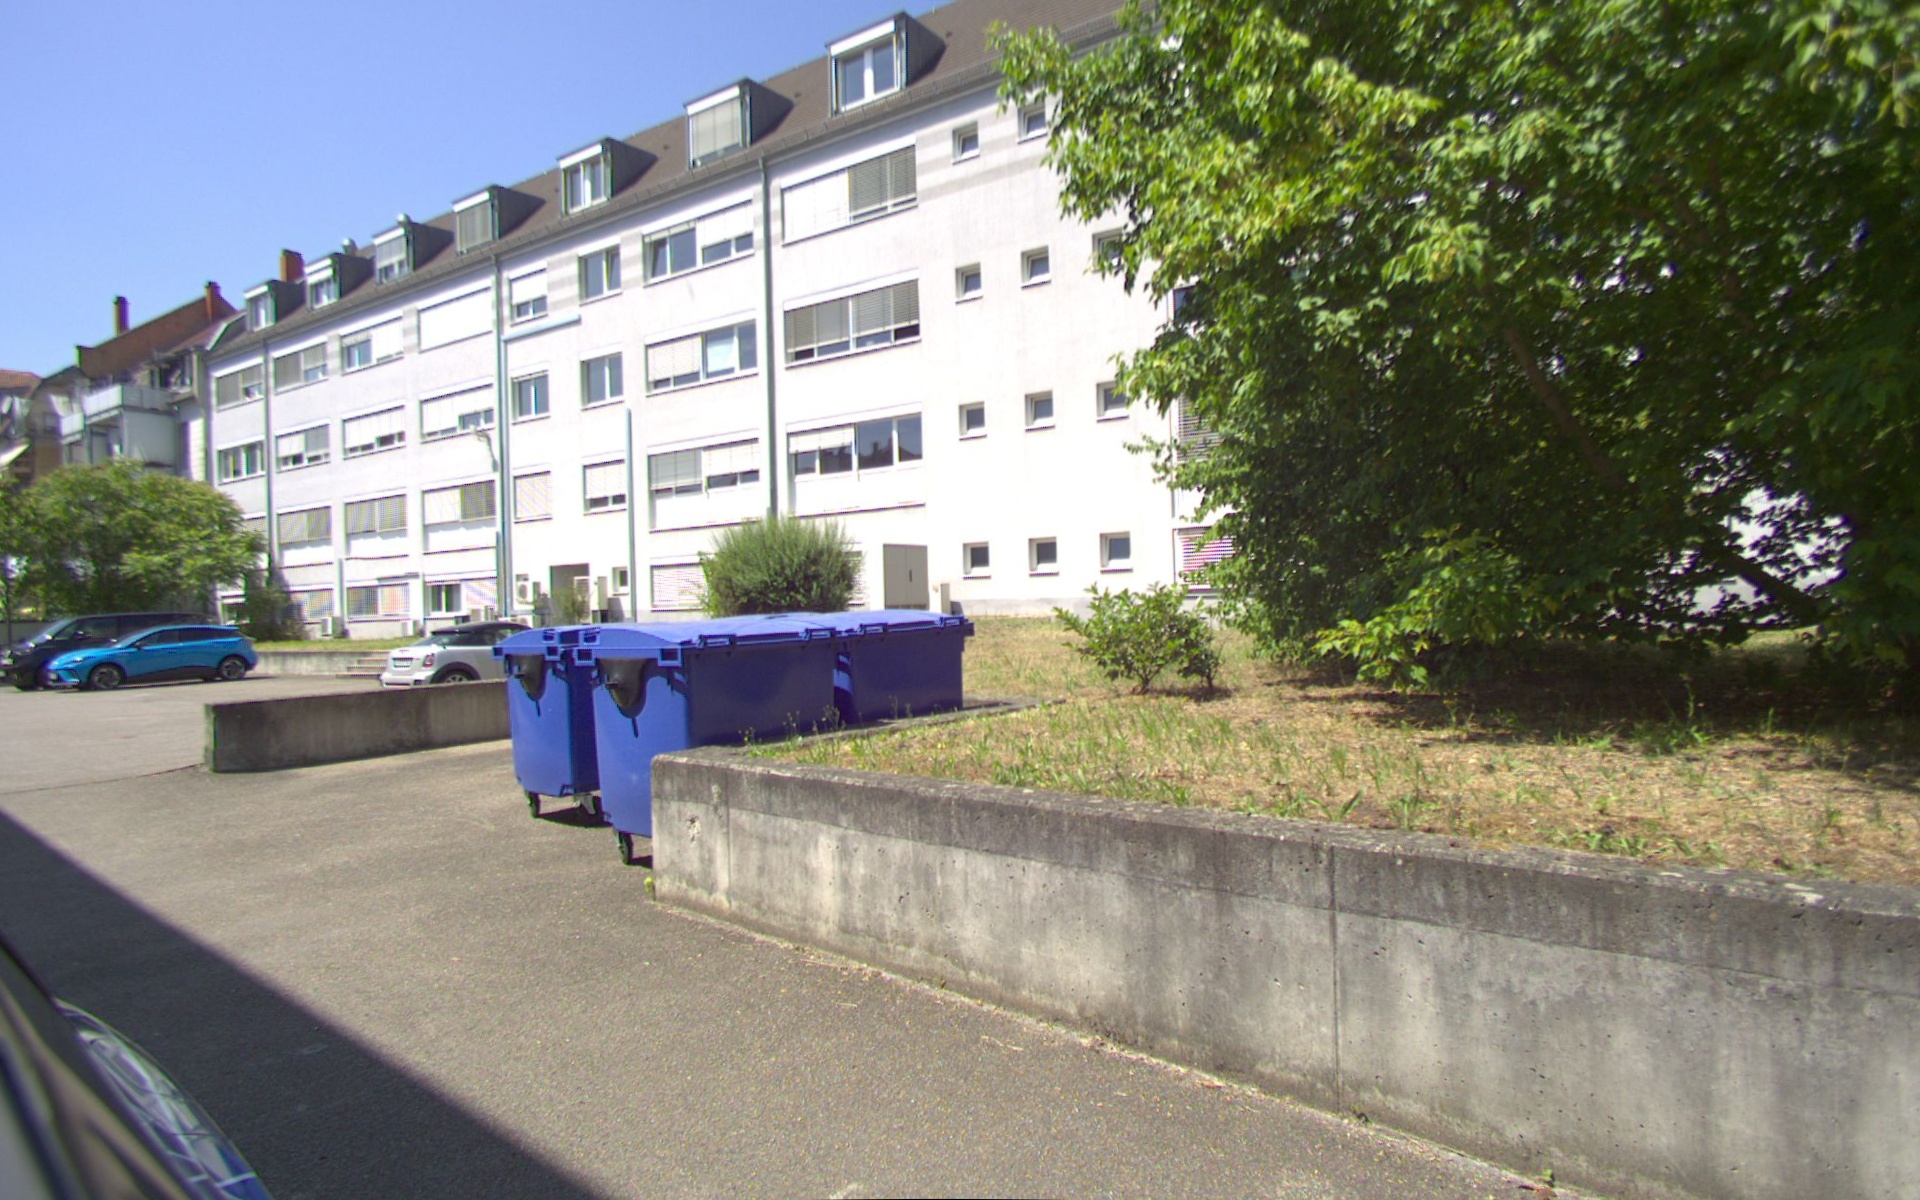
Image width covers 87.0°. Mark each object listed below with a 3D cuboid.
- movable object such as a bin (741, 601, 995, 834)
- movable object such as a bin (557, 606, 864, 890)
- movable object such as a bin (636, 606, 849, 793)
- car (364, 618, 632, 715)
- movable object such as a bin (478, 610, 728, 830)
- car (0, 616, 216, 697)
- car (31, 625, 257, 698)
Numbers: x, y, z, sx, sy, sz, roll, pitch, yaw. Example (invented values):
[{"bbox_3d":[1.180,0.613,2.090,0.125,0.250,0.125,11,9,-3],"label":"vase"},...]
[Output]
[{"bbox_3d":[-0.595,0.705,6.752,1.103,1.338,1.242,-2,0,39],"label":"movable object such as a bin"},{"bbox_3d":[-1.389,0.731,5.713,1.103,1.338,1.242,-2,0,39],"label":"movable object such as a bin"},{"bbox_3d":[-1.748,0.746,8.214,1.103,1.338,1.242,-2,0,39],"label":"movable object such as a bin"},{"bbox_3d":[-7.893,1.070,17.619,1.707,1.447,3.953,-2,-2,34],"label":"car"},{"bbox_3d":[-2.511,0.772,7.164,1.103,1.338,1.242,-2,0,39],"label":"movable object such as a bin"},{"bbox_3d":[-22.960,1.433,27.160,1.996,1.846,4.398,-2,0,35],"label":"car"},{"bbox_3d":[-20.688,1.503,25.815,1.854,1.565,4.123,-2,0,33],"label":"car"}]
